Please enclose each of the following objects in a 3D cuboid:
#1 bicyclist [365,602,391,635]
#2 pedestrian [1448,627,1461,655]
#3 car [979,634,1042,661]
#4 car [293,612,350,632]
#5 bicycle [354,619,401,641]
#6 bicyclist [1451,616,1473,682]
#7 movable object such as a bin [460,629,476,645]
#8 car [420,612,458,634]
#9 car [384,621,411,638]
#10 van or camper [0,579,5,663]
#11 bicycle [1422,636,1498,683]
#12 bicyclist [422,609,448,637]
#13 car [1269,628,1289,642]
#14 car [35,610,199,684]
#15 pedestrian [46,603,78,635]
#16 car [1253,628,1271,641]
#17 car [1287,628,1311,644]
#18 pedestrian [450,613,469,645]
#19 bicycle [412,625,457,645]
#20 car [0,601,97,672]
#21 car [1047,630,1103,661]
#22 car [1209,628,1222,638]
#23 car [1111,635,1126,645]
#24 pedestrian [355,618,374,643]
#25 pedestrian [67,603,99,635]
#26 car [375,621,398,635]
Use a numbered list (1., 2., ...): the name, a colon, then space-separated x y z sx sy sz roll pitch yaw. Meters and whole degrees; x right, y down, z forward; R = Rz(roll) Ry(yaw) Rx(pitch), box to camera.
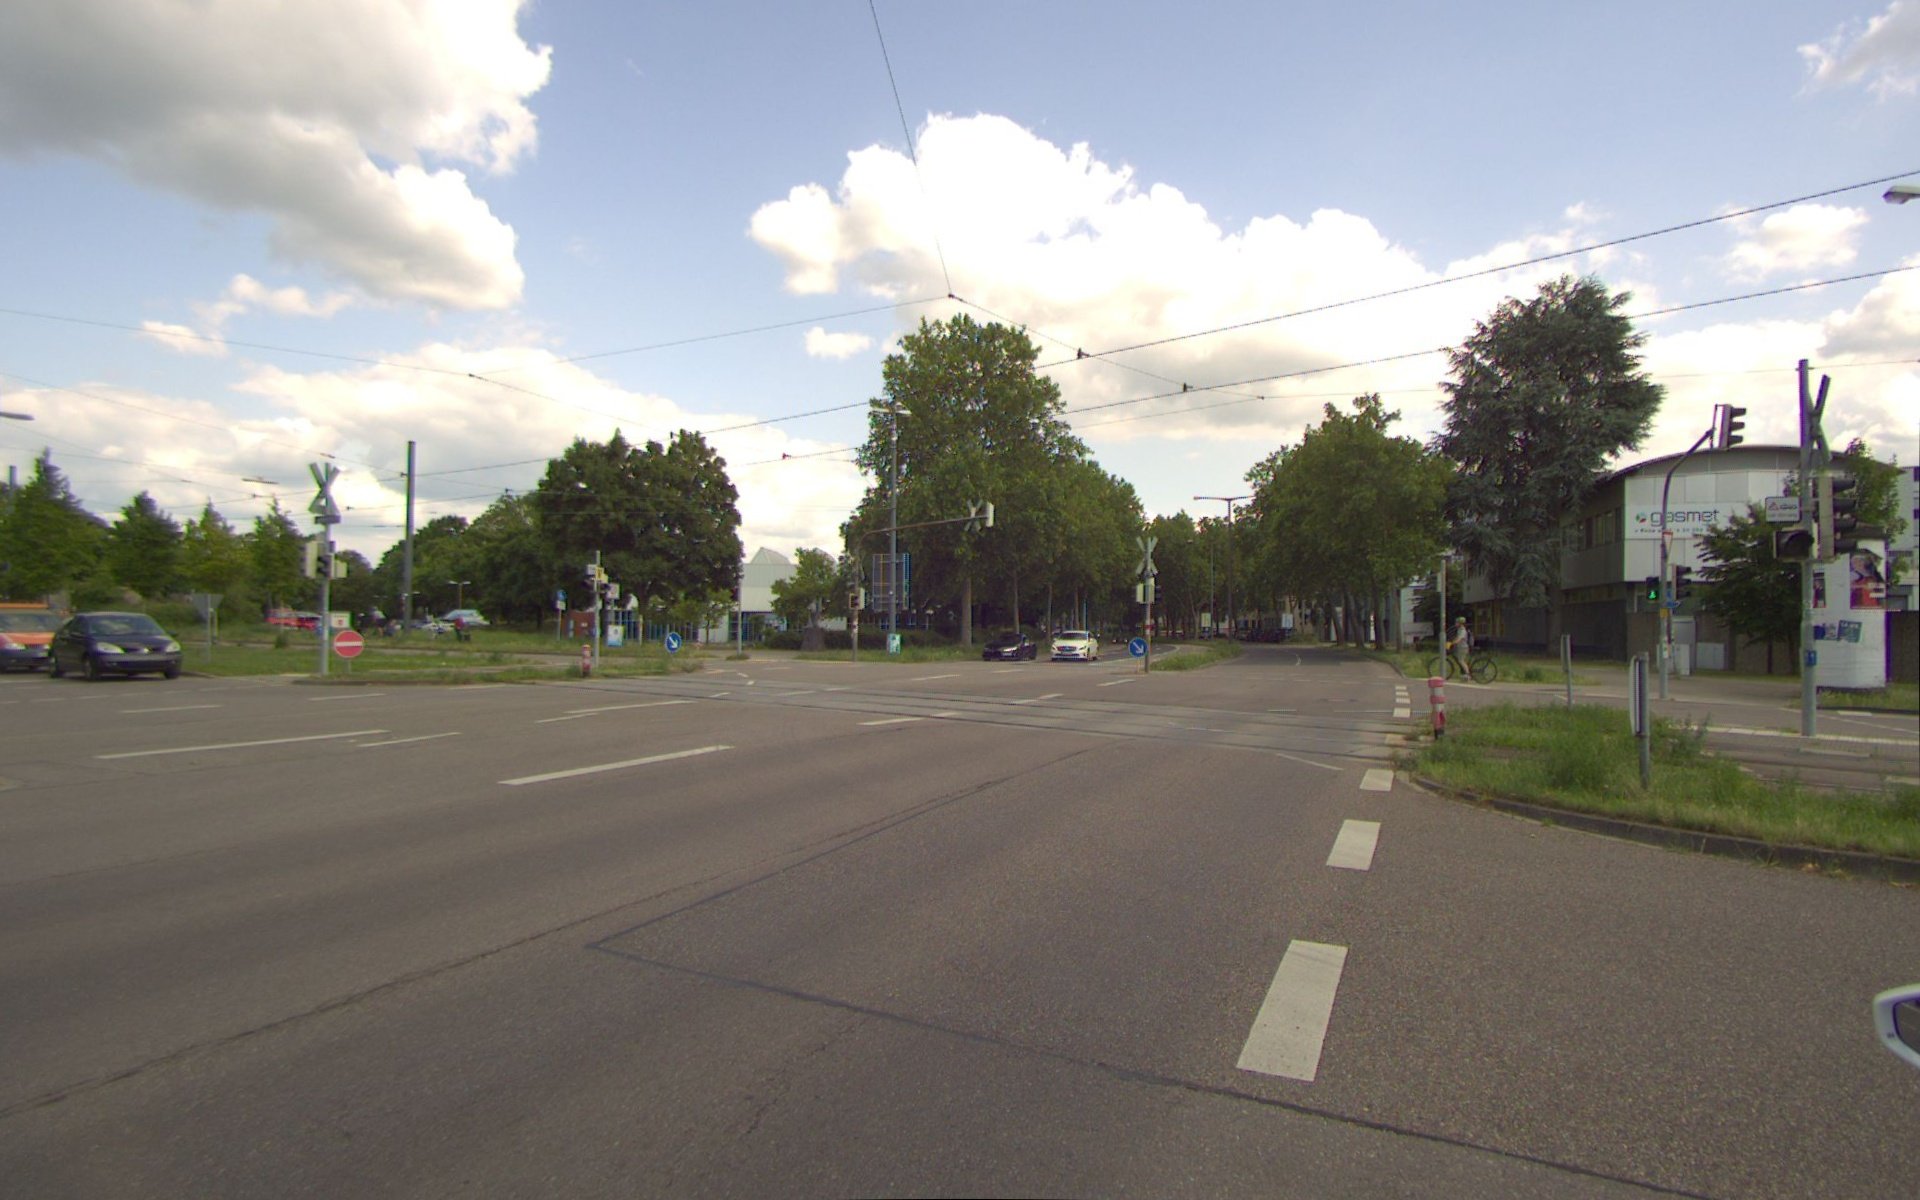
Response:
1. bicyclist: -31.855 1.020 54.977 0.819 1.745 0.963 1 -1 0
2. pedestrian: 28.229 2.339 57.296 0.610 1.590 0.559 0 1 21
3. car: 2.481 2.271 48.730 1.610 1.207 3.703 0 -2 28
4. car: -53.653 1.853 84.419 3.963 1.550 1.979 2 -2 -37
5. bicycle: -31.780 1.646 54.822 1.946 1.169 0.951 1 -1 -5
6. bicyclist: 14.274 1.382 28.568 0.535 1.834 0.540 0 1 31
7. movable object such as a bin: -25.674 1.916 52.407 0.450 0.822 0.579 0 1 12
8. car: -41.376 1.819 79.745 1.981 1.661 4.345 2 -2 -36
9. car: -59.199 3.106 105.668 1.981 1.661 4.345 2 -2 -36
10. van or camper: -32.303 0.636 31.367 5.929 2.557 1.979 0 -2 30
11. bicycle: 14.225 1.690 28.602 1.918 1.252 0.540 0 1 31
12. bicyclist: -28.383 1.254 54.276 0.819 1.509 0.964 1 -1 8
13. car: 40.378 4.395 127.185 1.959 1.595 4.002 0 0 10
14. car: -20.456 1.091 24.352 3.979 1.652 1.733 0 -2 29
15. pedestrian: -57.567 1.210 64.373 1.154 2.040 1.106 0 -1 22
16. car: 40.766 4.668 135.647 1.959 1.595 4.002 0 0 10
17. car: 38.934 4.109 115.379 1.959 1.595 4.002 0 0 10
18. pedestrian: -26.159 1.506 52.514 0.625 1.666 0.613 0 1 13
19. bicycle: -28.360 1.868 54.258 1.944 1.054 0.952 1 -1 8
20. car: -25.866 0.963 27.622 4.292 1.823 1.881 0 -2 29
21. car: 5.577 2.153 48.259 1.795 1.382 4.138 0 -2 19
22. car: 44.649 5.693 175.614 1.959 1.595 4.002 0 0 10
23. car: 20.669 5.221 130.972 1.607 1.207 3.710 1 -1 3
24. pedestrian: -34.075 1.736 57.456 0.738 1.372 0.650 0 1 28
25. pedestrian: -57.156 1.245 65.458 1.154 2.040 1.106 0 -1 21
26. car: -70.294 3.475 123.042 1.981 1.661 4.345 2 -2 -36
